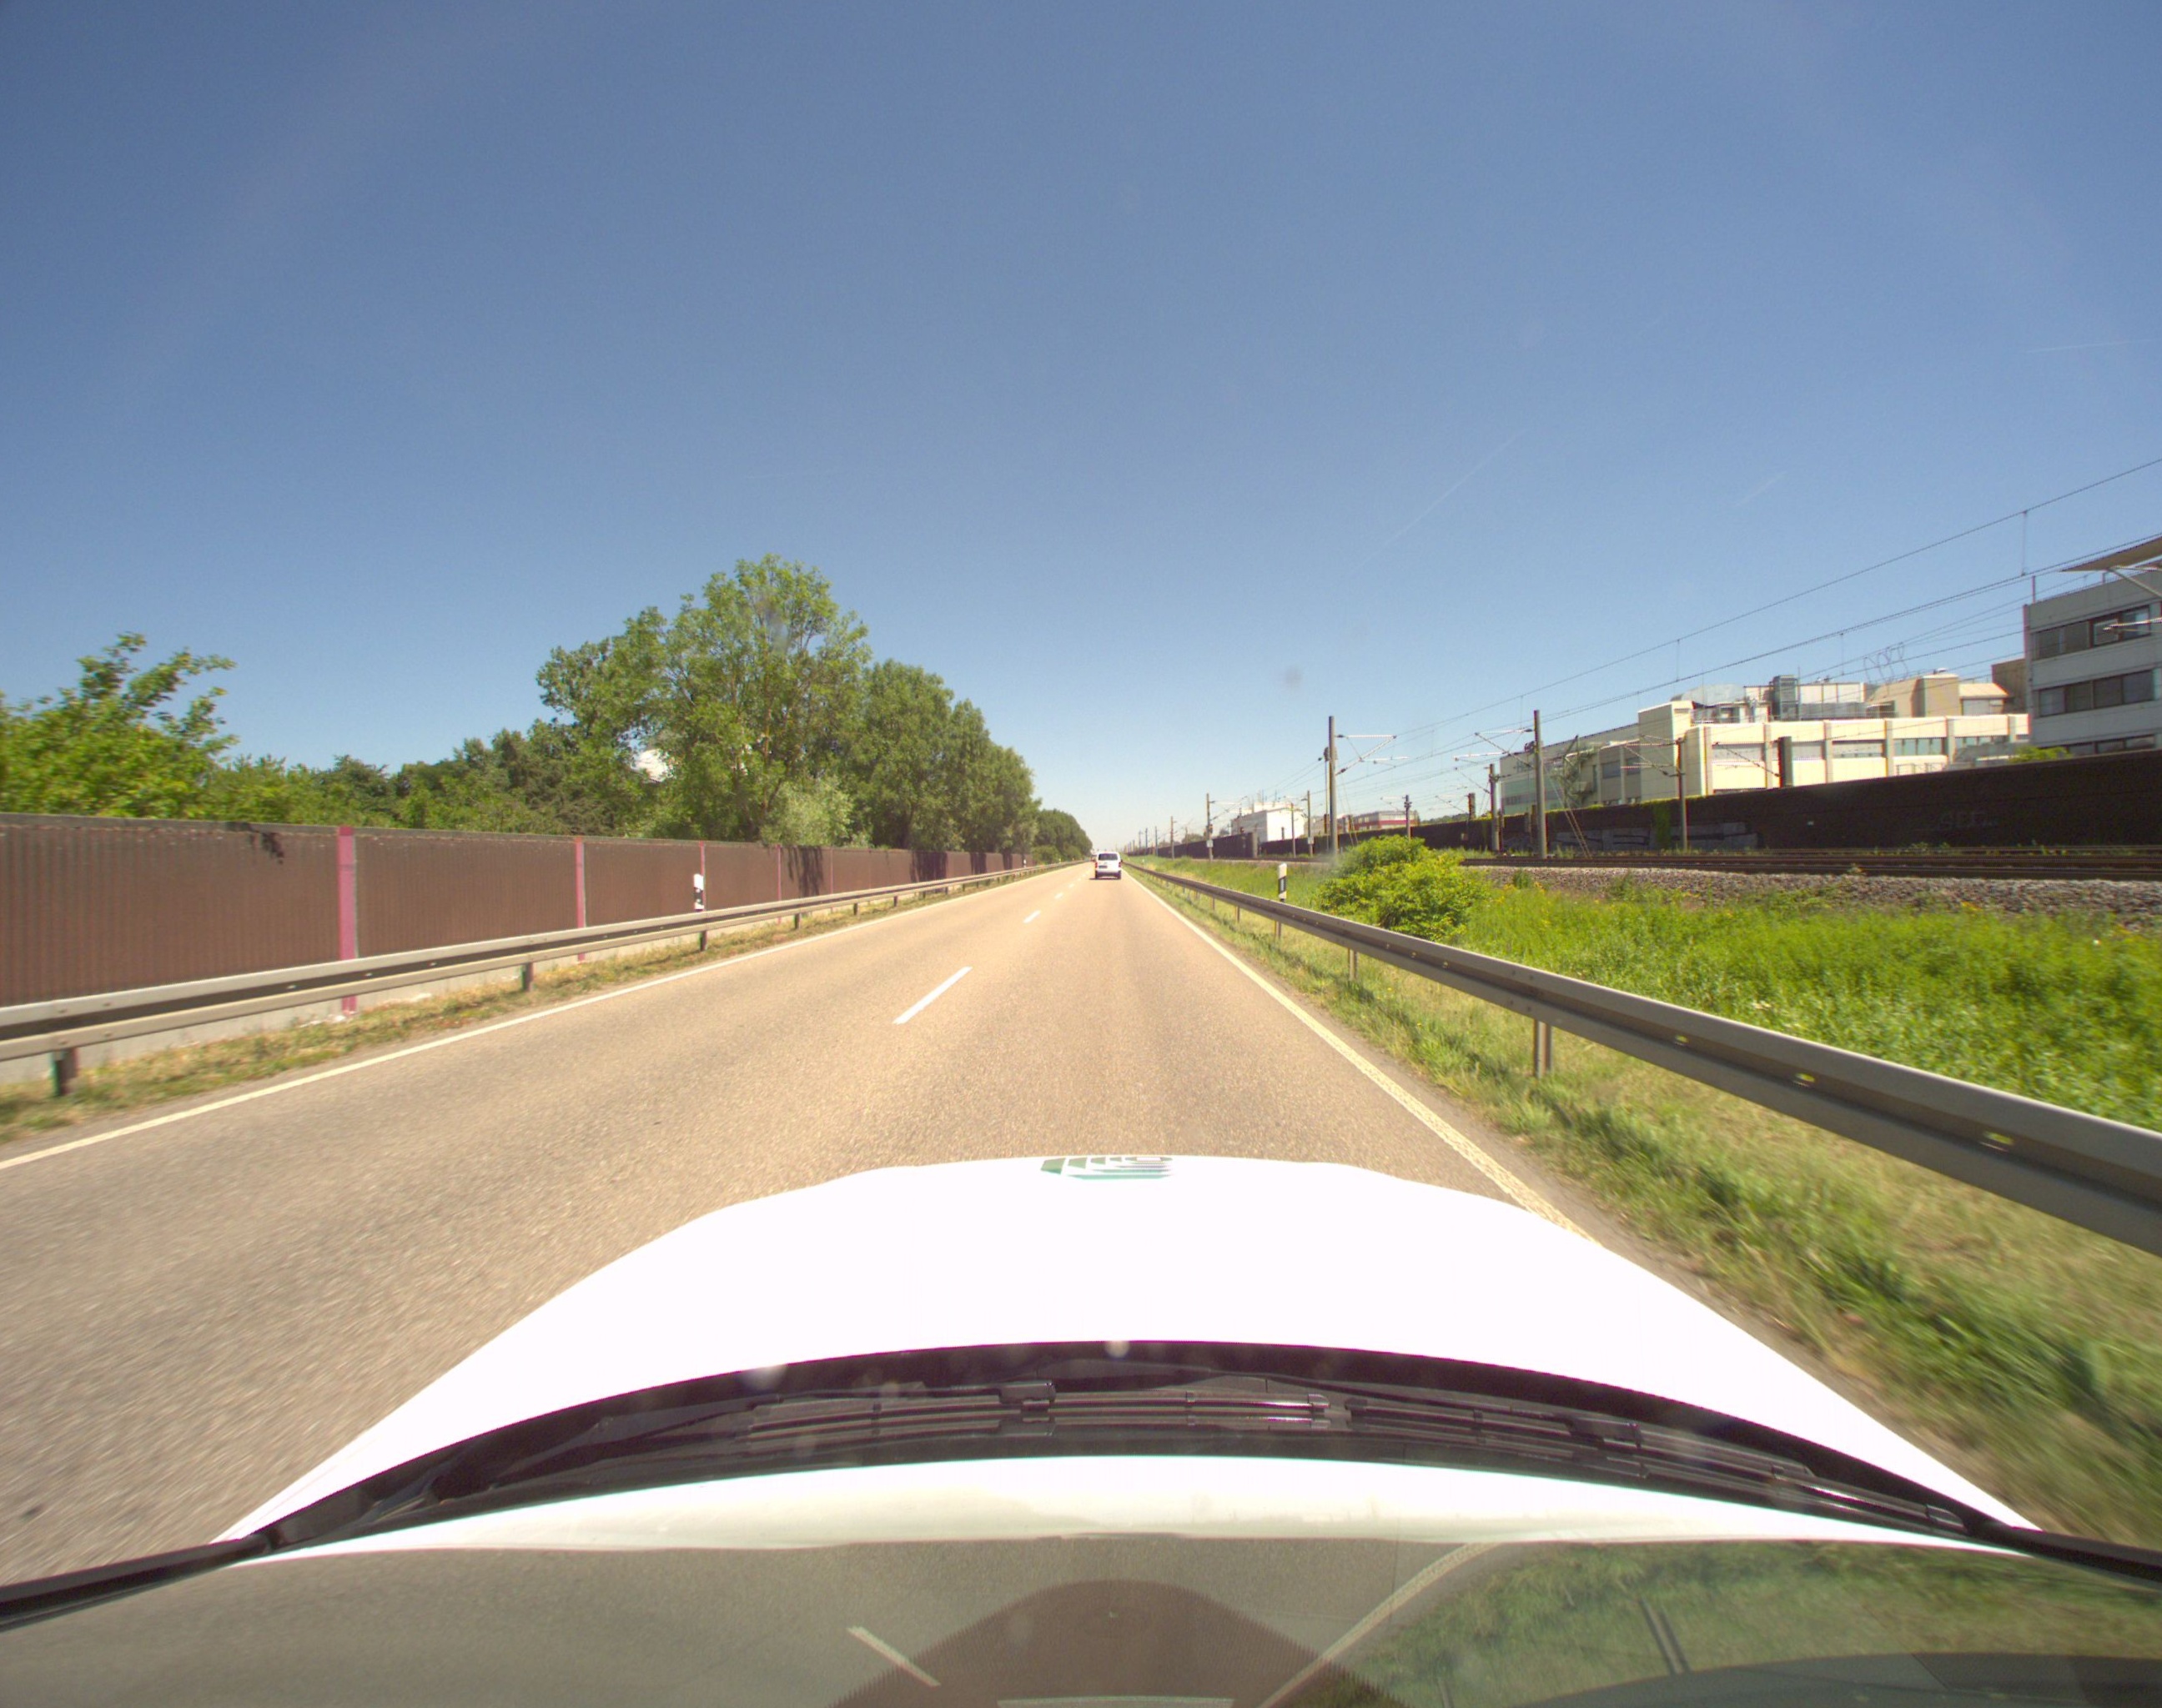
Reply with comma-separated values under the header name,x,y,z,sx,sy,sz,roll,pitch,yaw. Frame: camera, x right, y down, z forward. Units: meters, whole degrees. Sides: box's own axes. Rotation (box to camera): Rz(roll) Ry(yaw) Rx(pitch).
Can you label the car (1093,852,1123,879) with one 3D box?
name,x,y,z,sx,sy,sz,roll,pitch,yaw
car,1.924,0.772,58.110,1.986,1.850,4.002,1,0,2
